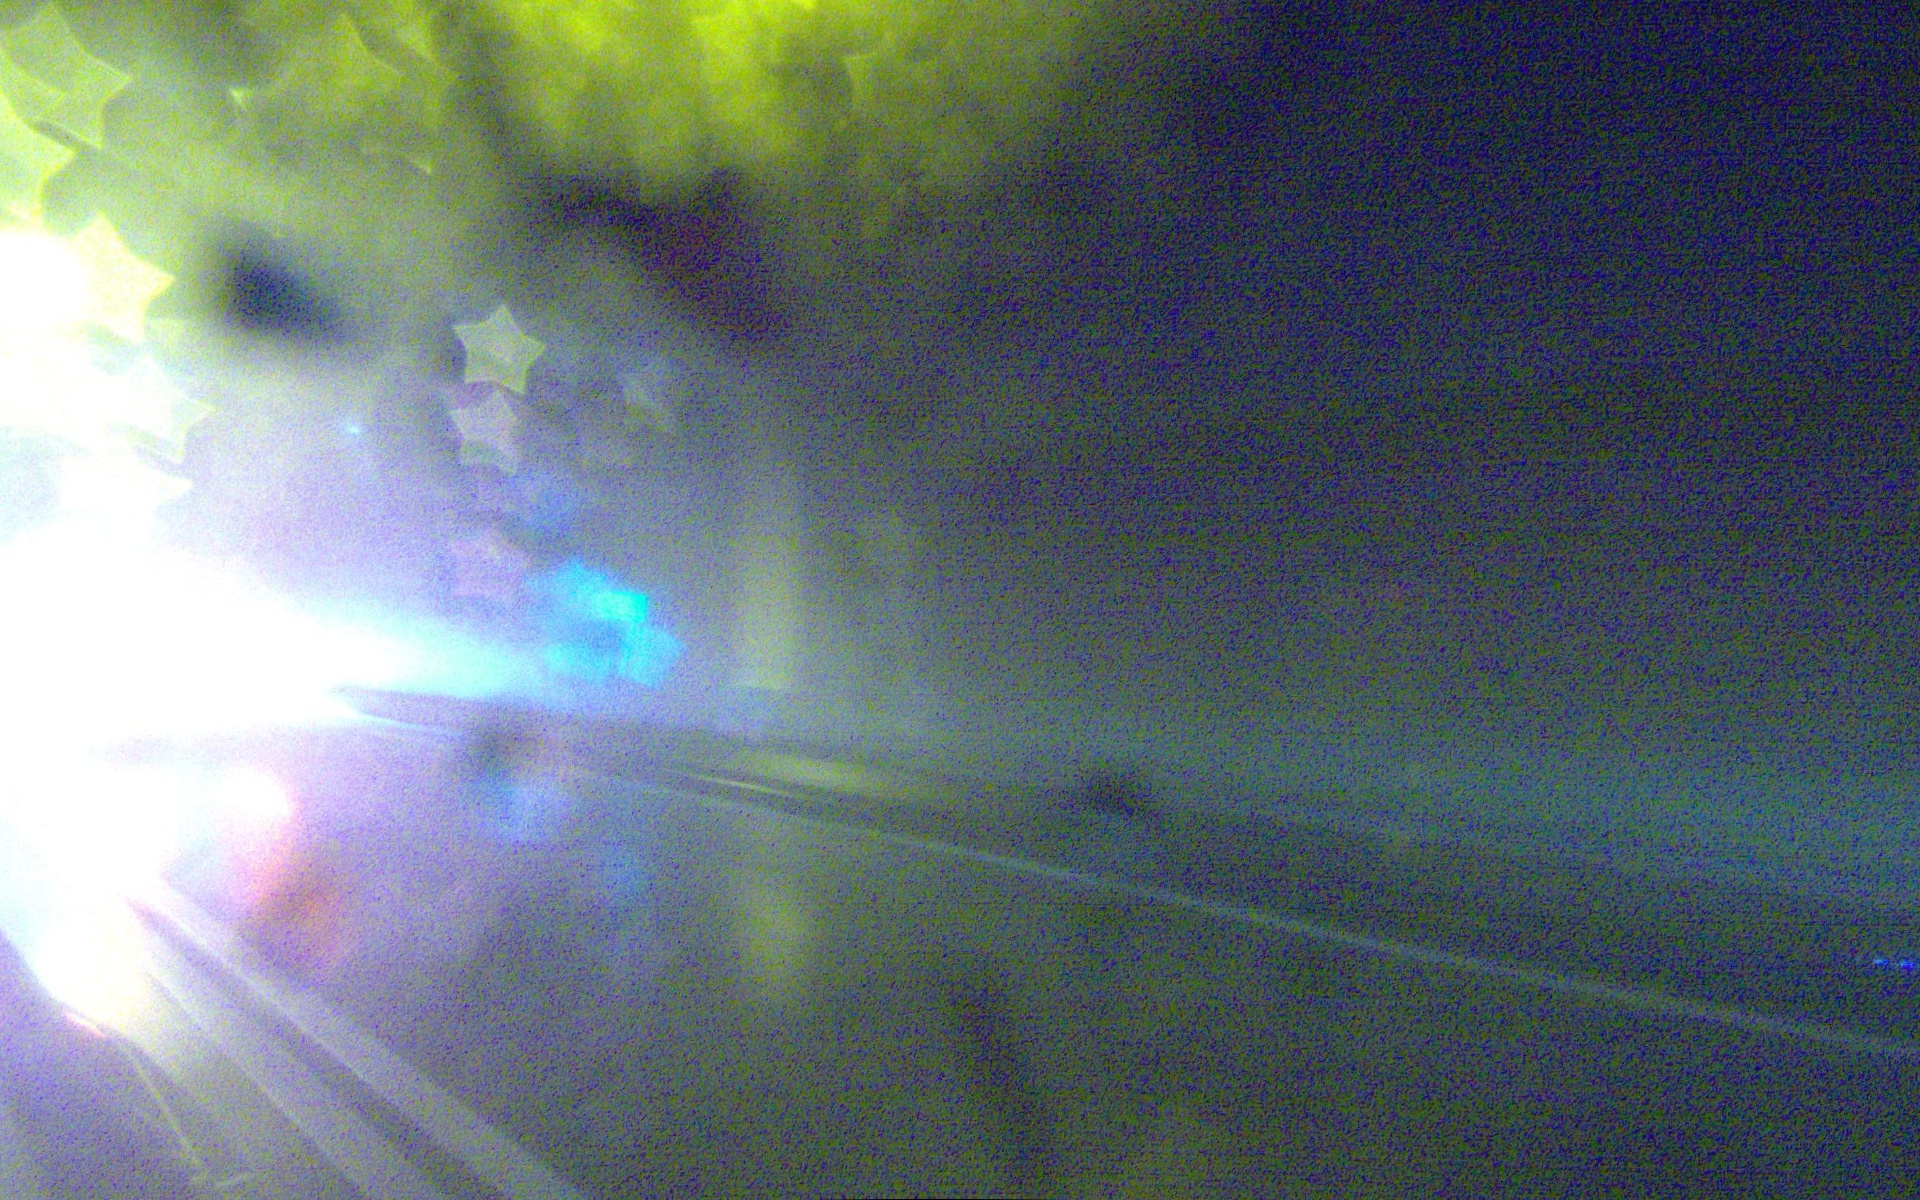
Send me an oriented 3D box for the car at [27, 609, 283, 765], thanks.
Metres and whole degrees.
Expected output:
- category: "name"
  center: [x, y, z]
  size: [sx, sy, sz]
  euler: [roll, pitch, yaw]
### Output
- category: "car"
  center: [-9.445, 0.880, 11.766]
  size: [3.961, 1.501, 1.643]
  euler: [-1, -1, 41]
